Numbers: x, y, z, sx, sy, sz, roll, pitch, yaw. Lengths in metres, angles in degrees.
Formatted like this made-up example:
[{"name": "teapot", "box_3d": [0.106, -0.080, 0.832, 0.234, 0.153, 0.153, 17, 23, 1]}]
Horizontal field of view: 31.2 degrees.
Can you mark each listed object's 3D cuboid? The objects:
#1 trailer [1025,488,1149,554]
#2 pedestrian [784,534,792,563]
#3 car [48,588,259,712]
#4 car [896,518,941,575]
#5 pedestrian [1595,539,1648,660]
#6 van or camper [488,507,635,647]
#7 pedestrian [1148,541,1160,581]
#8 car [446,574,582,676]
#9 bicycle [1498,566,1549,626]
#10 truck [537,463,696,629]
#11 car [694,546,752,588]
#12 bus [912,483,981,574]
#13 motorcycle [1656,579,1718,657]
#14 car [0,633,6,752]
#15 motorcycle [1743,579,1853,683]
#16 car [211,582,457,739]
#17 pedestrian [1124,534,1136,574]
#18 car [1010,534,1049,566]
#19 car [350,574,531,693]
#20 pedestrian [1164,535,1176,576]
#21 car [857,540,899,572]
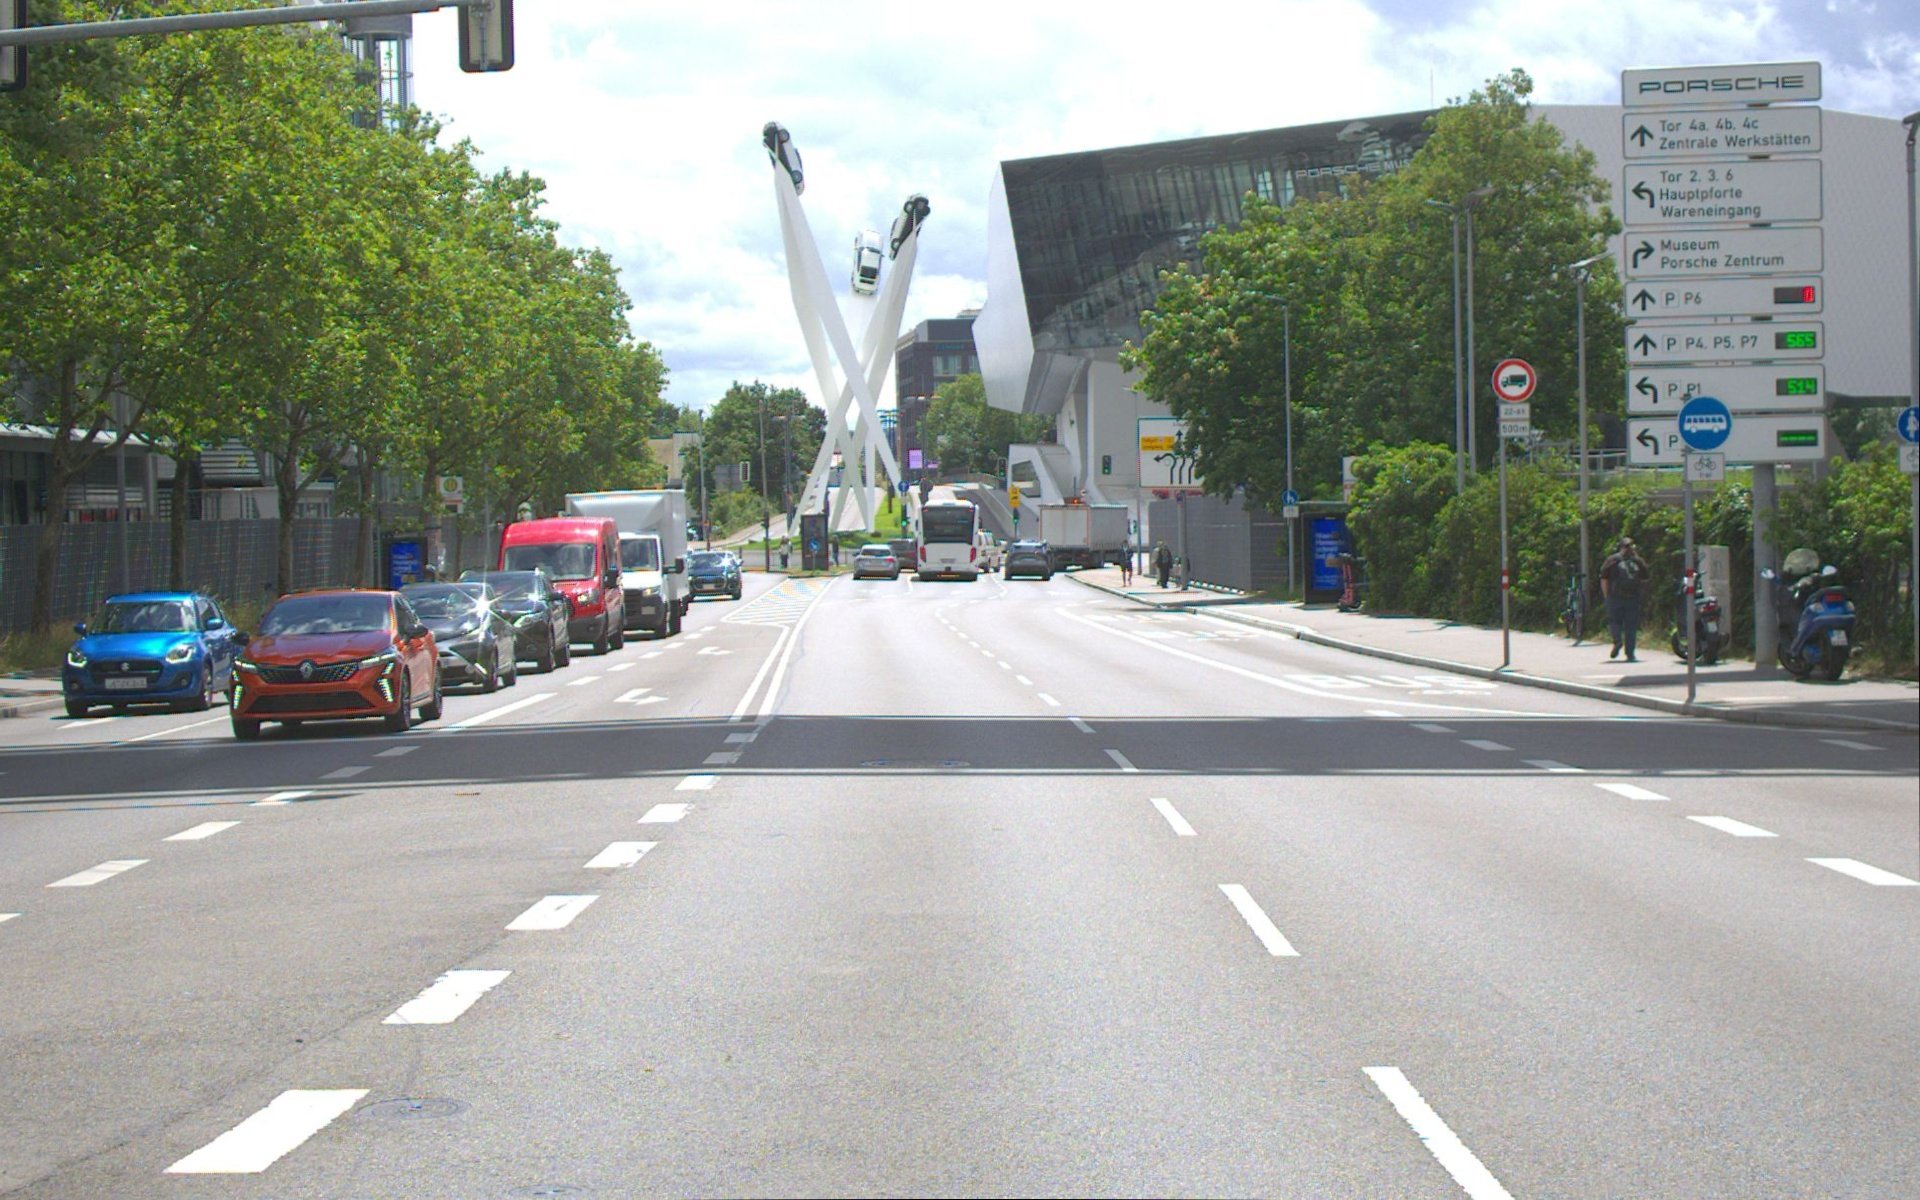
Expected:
[{"name": "trailer", "box_3d": [6.371, -3.891, 170.209, 3.322, 2.985, 10.366, 1, 0, 19]}, {"name": "pedestrian", "box_3d": [-8.721, -2.611, 174.243, 0.386, 1.416, 0.423, 1, 0, -5]}, {"name": "car", "box_3d": [-10.117, 0.599, 43.378, 1.727, 1.378, 3.701, -3, 1, 0]}, {"name": "car", "box_3d": [-1.963, -2.539, 164.197, 1.844, 2.615, 3.999, 1, 0, 3]}, {"name": "pedestrian", "box_3d": [9.058, -0.008, 47.097, 0.533, 1.635, 0.658, 1, 0, -6]}, {"name": "van or camper", "box_3d": [-7.266, -0.444, 63.225, 2.047, 2.458, 5.594, 0, 1, 0]}, {"name": "pedestrian", "box_3d": [6.998, -1.411, 123.981, 0.386, 1.416, 0.423, 1, 0, 0]}, {"name": "car", "box_3d": [-6.934, 0.356, 53.682, 1.557, 1.443, 3.772, -3, 1, 0]}, {"name": "bicycle", "box_3d": [9.775, -0.069, 59.663, 0.418, 1.019, 1.913, 1, 0, -5]}, {"name": "truck", "box_3d": [-7.188, -1.089, 72.789, 2.591, 3.312, 7.079, 1, 0, 0]}, {"name": "car", "box_3d": [-7.659, -1.068, 111.451, 1.557, 1.269, 3.701, -3, 1, 0]}, {"name": "bus", "box_3d": [-0.543, -2.970, 145.321, 2.787, 3.673, 6.943, 1, 0, 0]}, {"name": "motorcycle", "box_3d": [9.807, 0.236, 46.403, 0.457, 1.019, 1.912, 1, 0, 1]}, {"name": "car", "box_3d": [-9.957, 0.748, 29.884, 1.917, 1.483, 4.772, -3, 1, 0]}, {"name": "motorcycle", "box_3d": [9.591, 0.348, 39.418, 0.418, 1.162, 1.957, 1, 0, -11]}, {"name": "car", "box_3d": [-6.332, 0.576, 35.161, 1.769, 1.415, 3.701, -3, 1, 0]}, {"name": "pedestrian", "box_3d": [6.110, -1.654, 123.827, 0.386, 1.416, 0.423, 1, 0, 0]}, {"name": "car", "box_3d": [2.864, -2.073, 142.664, 1.557, 1.269, 3.701, -3, 1, 1]}, {"name": "car", "box_3d": [-6.842, 0.410, 45.584, 1.769, 1.415, 3.701, -3, 1, 0]}, {"name": "pedestrian", "box_3d": [7.312, -1.549, 119.686, 0.386, 1.416, 0.423, 1, 0, 0]}, {"name": "car", "box_3d": [-3.416, -1.850, 143.723, 1.557, 1.269, 3.701, -3, 1, 1]}]
